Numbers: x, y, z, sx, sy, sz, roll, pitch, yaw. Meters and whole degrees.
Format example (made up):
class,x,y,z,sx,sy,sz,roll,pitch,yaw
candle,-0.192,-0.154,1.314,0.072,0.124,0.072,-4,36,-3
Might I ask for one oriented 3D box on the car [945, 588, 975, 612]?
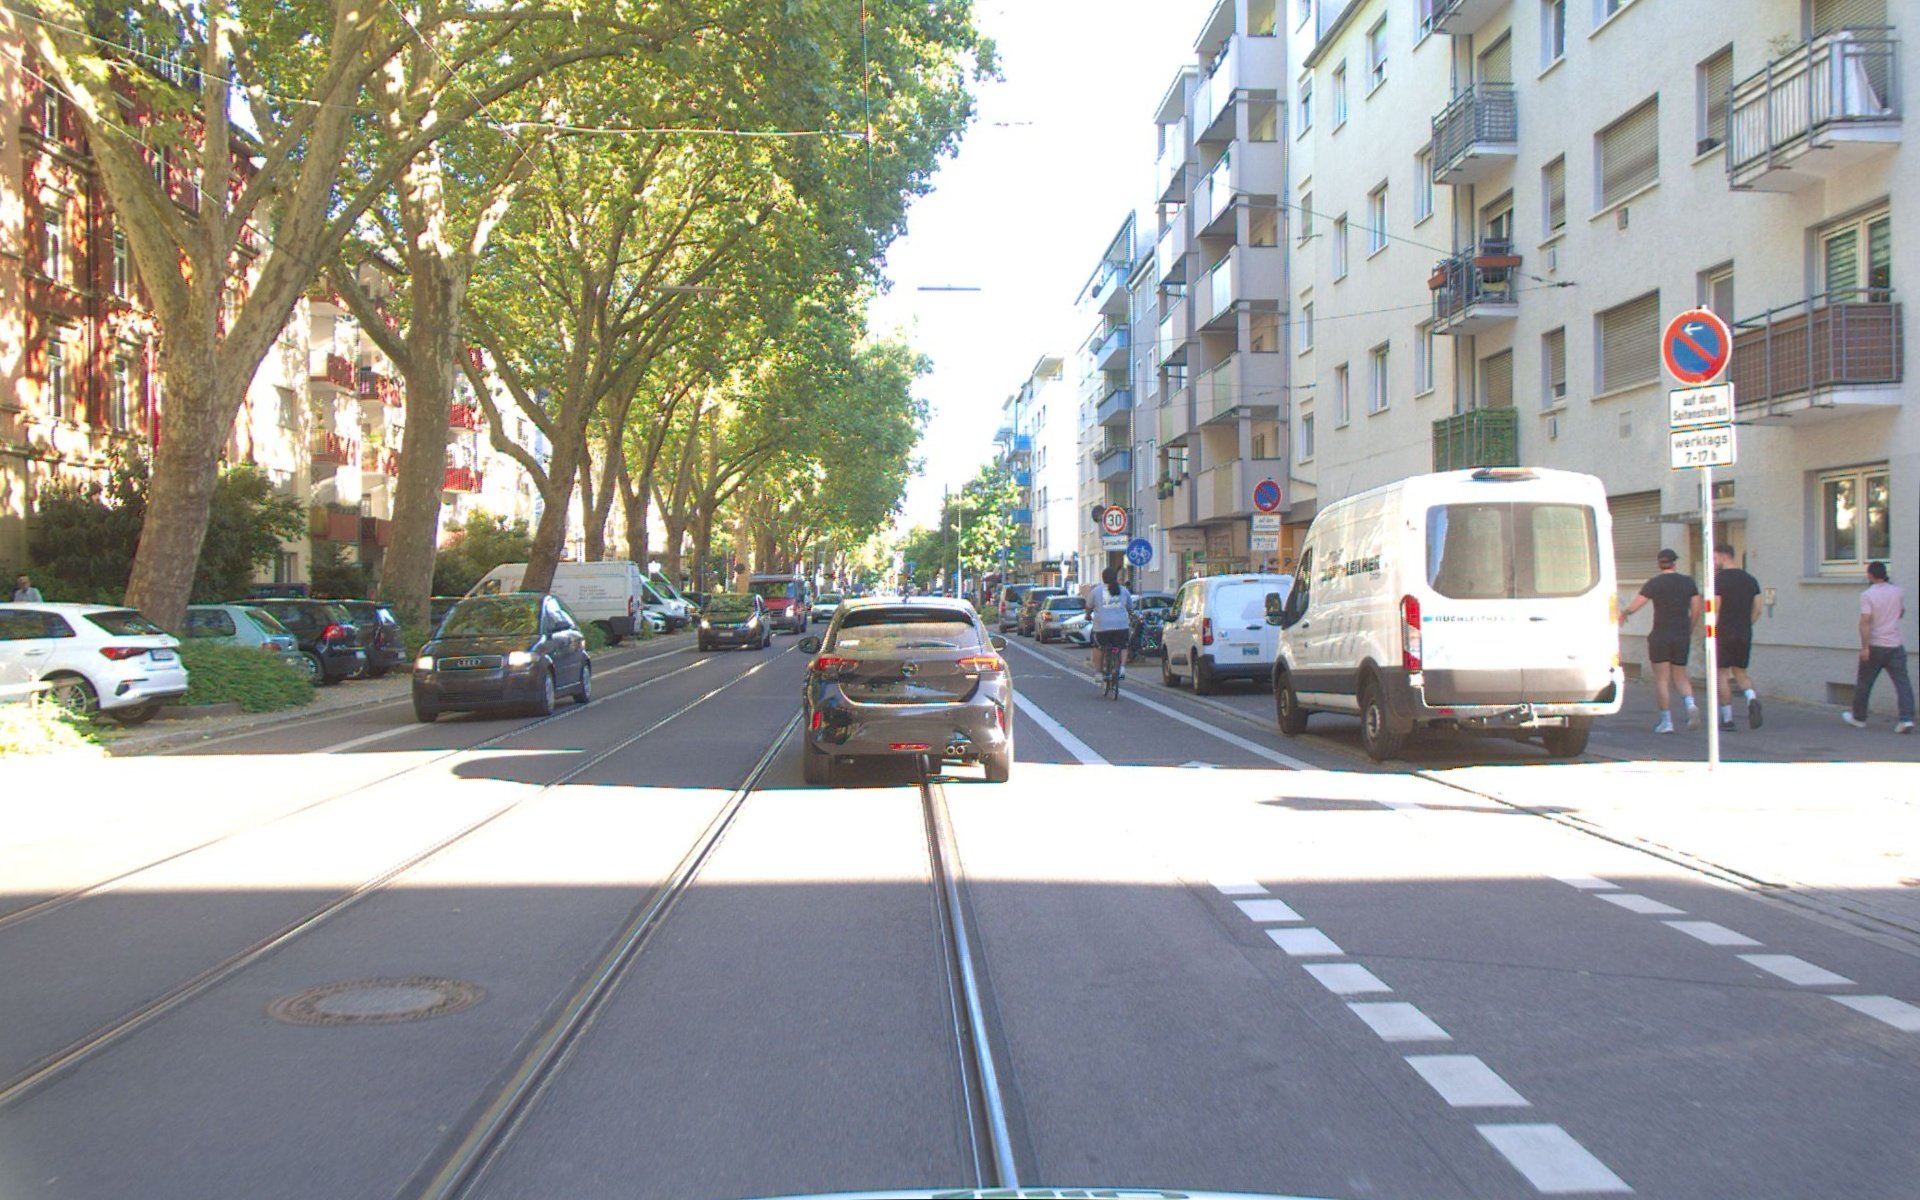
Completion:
class,x,y,z,sx,sy,sz,roll,pitch,yaw
car,0.010,-0.023,116.685,1.685,1.601,4.079,-1,0,-6

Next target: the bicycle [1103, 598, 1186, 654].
class,x,y,z,sx,sy,sz,roll,pitch,yaw
bicycle,4.203,0.593,37.730,1.758,1.168,0.704,-3,0,-3

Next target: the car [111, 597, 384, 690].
class,x,y,z,sx,sy,sz,roll,pitch,yaw
car,-12.208,0.730,28.504,3.905,1.486,1.770,-1,0,-1

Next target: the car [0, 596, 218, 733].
class,x,y,z,sx,sy,sz,roll,pitch,yaw
car,-10.954,0.731,19.099,3.908,1.486,1.878,-1,0,-3

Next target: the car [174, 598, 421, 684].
class,x,y,z,sx,sy,sz,roll,pitch,yaw
car,-12.326,0.741,30.949,3.905,1.486,1.704,-1,0,-1

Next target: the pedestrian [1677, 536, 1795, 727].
class,x,y,z,sx,sy,sz,roll,pitch,yaw
pedestrian,7.872,0.310,16.817,0.612,1.854,1.082,-2,0,-1

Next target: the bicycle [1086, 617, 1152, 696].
class,x,y,z,sx,sy,sz,roll,pitch,yaw
bicycle,2.350,0.820,24.690,0.687,1.111,1.989,1,0,-3

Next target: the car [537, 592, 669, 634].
class,x,y,z,sx,sy,sz,roll,pitch,yaw
car,-12.691,0.448,58.987,4.321,1.409,1.932,-1,0,-3

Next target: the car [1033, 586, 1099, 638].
class,x,y,z,sx,sy,sz,roll,pitch,yaw
car,3.286,0.343,51.980,1.689,1.552,4.512,-1,0,-1

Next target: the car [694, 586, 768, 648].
class,x,y,z,sx,sy,sz,roll,pitch,yaw
car,-6.049,0.424,44.062,1.684,1.536,3.720,-1,0,-4

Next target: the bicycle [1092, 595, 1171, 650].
class,x,y,z,sx,sy,sz,roll,pitch,yaw
bicycle,4.076,0.536,39.393,1.787,1.212,0.457,-3,0,-3

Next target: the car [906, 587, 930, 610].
class,x,y,z,sx,sy,sz,roll,pitch,yaw
car,-3.242,-0.119,128.221,1.820,1.680,3.999,-1,0,-1

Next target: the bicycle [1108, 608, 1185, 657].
class,x,y,z,sx,sy,sz,roll,pitch,yaw
bicycle,4.176,0.726,37.020,1.620,1.004,0.457,-3,0,-3

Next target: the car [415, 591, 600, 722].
class,x,y,z,sx,sy,sz,roll,pitch,yaw
car,-5.784,0.659,21.543,1.603,1.536,3.689,-1,0,-4

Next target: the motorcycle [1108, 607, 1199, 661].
class,x,y,z,sx,sy,sz,roll,pitch,yaw
motorcycle,4.082,0.718,34.951,1.781,1.099,0.617,-2,0,21

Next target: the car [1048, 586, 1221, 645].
class,x,y,z,sx,sy,sz,roll,pitch,yaw
car,4.947,0.418,47.079,4.535,1.462,1.858,-2,1,-14

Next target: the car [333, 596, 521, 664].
class,x,y,z,sx,sy,sz,roll,pitch,yaw
car,-12.068,0.663,37.619,3.717,1.486,1.704,0,0,-2

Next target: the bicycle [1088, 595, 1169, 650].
class,x,y,z,sx,sy,sz,roll,pitch,yaw
bicycle,4.065,0.534,39.880,1.854,1.212,0.457,-3,0,-3

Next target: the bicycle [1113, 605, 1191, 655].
class,x,y,z,sx,sy,sz,roll,pitch,yaw
bicycle,4.219,0.654,36.454,1.620,1.004,0.457,-3,0,-3

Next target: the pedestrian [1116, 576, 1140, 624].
class,x,y,z,sx,sy,sz,roll,pitch,yaw
pedestrian,6.247,0.006,61.547,0.741,1.750,0.719,-1,0,-4

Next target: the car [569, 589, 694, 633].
class,x,y,z,sx,sy,sz,roll,pitch,yaw
car,-12.134,0.384,61.264,4.283,1.565,1.871,-1,0,-3

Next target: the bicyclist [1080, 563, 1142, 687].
class,x,y,z,sx,sy,sz,roll,pitch,yaw
bicyclist,2.224,0.365,24.475,0.771,1.790,0.914,-1,0,-3

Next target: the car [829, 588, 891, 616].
class,x,y,z,sx,sy,sz,roll,pitch,yaw
car,-6.380,0.115,105.760,3.907,1.680,1.864,-1,0,-3

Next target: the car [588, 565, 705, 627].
class,x,y,z,sx,sy,sz,roll,pitch,yaw
car,-13.801,-0.191,72.961,4.848,2.612,2.080,-1,0,-6

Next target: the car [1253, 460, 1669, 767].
class,x,y,z,sx,sy,sz,roll,pitch,yaw
car,4.717,0.101,16.809,2.106,2.539,6.085,-1,0,-3

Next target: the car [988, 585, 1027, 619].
class,x,y,z,sx,sy,sz,roll,pitch,yaw
car,2.398,0.074,84.182,1.820,1.680,3.999,-1,0,-1

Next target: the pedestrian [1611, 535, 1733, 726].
class,x,y,z,sx,sy,sz,roll,pitch,yaw
pedestrian,7.213,0.303,16.804,0.695,1.854,1.082,-2,0,-1

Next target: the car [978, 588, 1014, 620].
class,x,y,z,sx,sy,sz,roll,pitch,yaw
car,1.966,0.200,91.883,1.820,1.680,3.999,-1,0,-1

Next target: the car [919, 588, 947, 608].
class,x,y,z,sx,sy,sz,roll,pitch,yaw
car,-2.311,-0.150,141.223,1.955,1.668,3.995,-1,0,-6

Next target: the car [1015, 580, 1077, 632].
class,x,y,z,sx,sy,sz,roll,pitch,yaw
car,3.007,0.180,58.496,1.731,1.734,4.280,-1,0,-3

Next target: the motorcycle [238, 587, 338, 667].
class,x,y,z,sx,sy,sz,roll,pitch,yaw
motorcycle,-14.699,0.580,36.298,1.031,1.660,3.010,1,0,-2

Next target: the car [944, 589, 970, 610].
class,x,y,z,sx,sy,sz,roll,pitch,yaw
car,-0.249,-0.049,122.569,1.684,1.516,3.679,-1,0,-4

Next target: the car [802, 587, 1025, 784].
class,x,y,z,sx,sy,sz,roll,pitch,yaw
car,-0.431,0.637,14.133,1.646,1.447,3.625,1,0,-3

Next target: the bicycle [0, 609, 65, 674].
class,x,y,z,sx,sy,sz,roll,pitch,yaw
bicycle,-17.738,0.774,31.271,0.727,1.158,1.779,-1,0,-2

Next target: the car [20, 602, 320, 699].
class,x,y,z,sx,sy,sz,roll,pitch,yaw
car,-12.331,0.768,25.980,3.905,1.393,1.605,-1,0,-1

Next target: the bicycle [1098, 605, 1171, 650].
class,x,y,z,sx,sy,sz,roll,pitch,yaw
bicycle,4.113,0.647,38.923,1.620,0.983,0.457,-3,0,-3

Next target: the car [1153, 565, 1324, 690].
class,x,y,z,sx,sy,sz,roll,pitch,yaw
car,4.437,0.396,26.996,1.821,1.852,4.348,-1,0,-3

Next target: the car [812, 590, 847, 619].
class,x,y,z,sx,sy,sz,roll,pitch,yaw
car,-6.497,0.216,82.887,1.684,1.382,4.466,-1,0,-4

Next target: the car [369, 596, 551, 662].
class,x,y,z,sx,sy,sz,roll,pitch,yaw
car,-12.218,0.691,40.576,3.906,1.522,1.830,-1,0,-2

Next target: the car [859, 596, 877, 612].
class,x,y,z,sx,sy,sz,roll,pitch,yaw
car,-10.193,0.412,183.668,1.714,1.680,3.999,-1,0,-1

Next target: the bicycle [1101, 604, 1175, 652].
class,x,y,z,sx,sy,sz,roll,pitch,yaw
bicycle,4.133,0.647,38.421,1.620,1.038,0.457,-3,0,-3

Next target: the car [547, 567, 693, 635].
class,x,y,z,sx,sy,sz,roll,pitch,yaw
car,-13.139,0.028,64.189,5.252,2.521,2.056,-1,0,-2

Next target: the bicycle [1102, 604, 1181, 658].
class,x,y,z,sx,sy,sz,roll,pitch,yaw
bicycle,3.936,0.669,35.915,1.620,1.073,0.457,-3,0,-3

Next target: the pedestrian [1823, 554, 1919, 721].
class,x,y,z,sx,sy,sz,roll,pitch,yaw
pedestrian,9.190,0.368,16.542,0.619,1.608,0.933,1,-1,-1

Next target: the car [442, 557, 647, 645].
class,x,y,z,sx,sy,sz,roll,pitch,yaw
car,-12.404,0.015,49.678,5.625,2.580,2.162,0,1,-2

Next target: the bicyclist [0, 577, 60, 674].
class,x,y,z,sx,sy,sz,roll,pitch,yaw
bicyclist,-17.711,0.479,31.269,0.814,1.793,1.048,-1,0,-3

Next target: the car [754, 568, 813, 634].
class,x,y,z,sx,sy,sz,roll,pitch,yaw
car,-6.344,0.015,59.882,1.879,2.266,4.956,-1,0,-4

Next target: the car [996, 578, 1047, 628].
class,x,y,z,sx,sy,sz,roll,pitch,yaw
car,2.456,0.092,67.280,1.820,1.923,4.924,-1,0,-1
